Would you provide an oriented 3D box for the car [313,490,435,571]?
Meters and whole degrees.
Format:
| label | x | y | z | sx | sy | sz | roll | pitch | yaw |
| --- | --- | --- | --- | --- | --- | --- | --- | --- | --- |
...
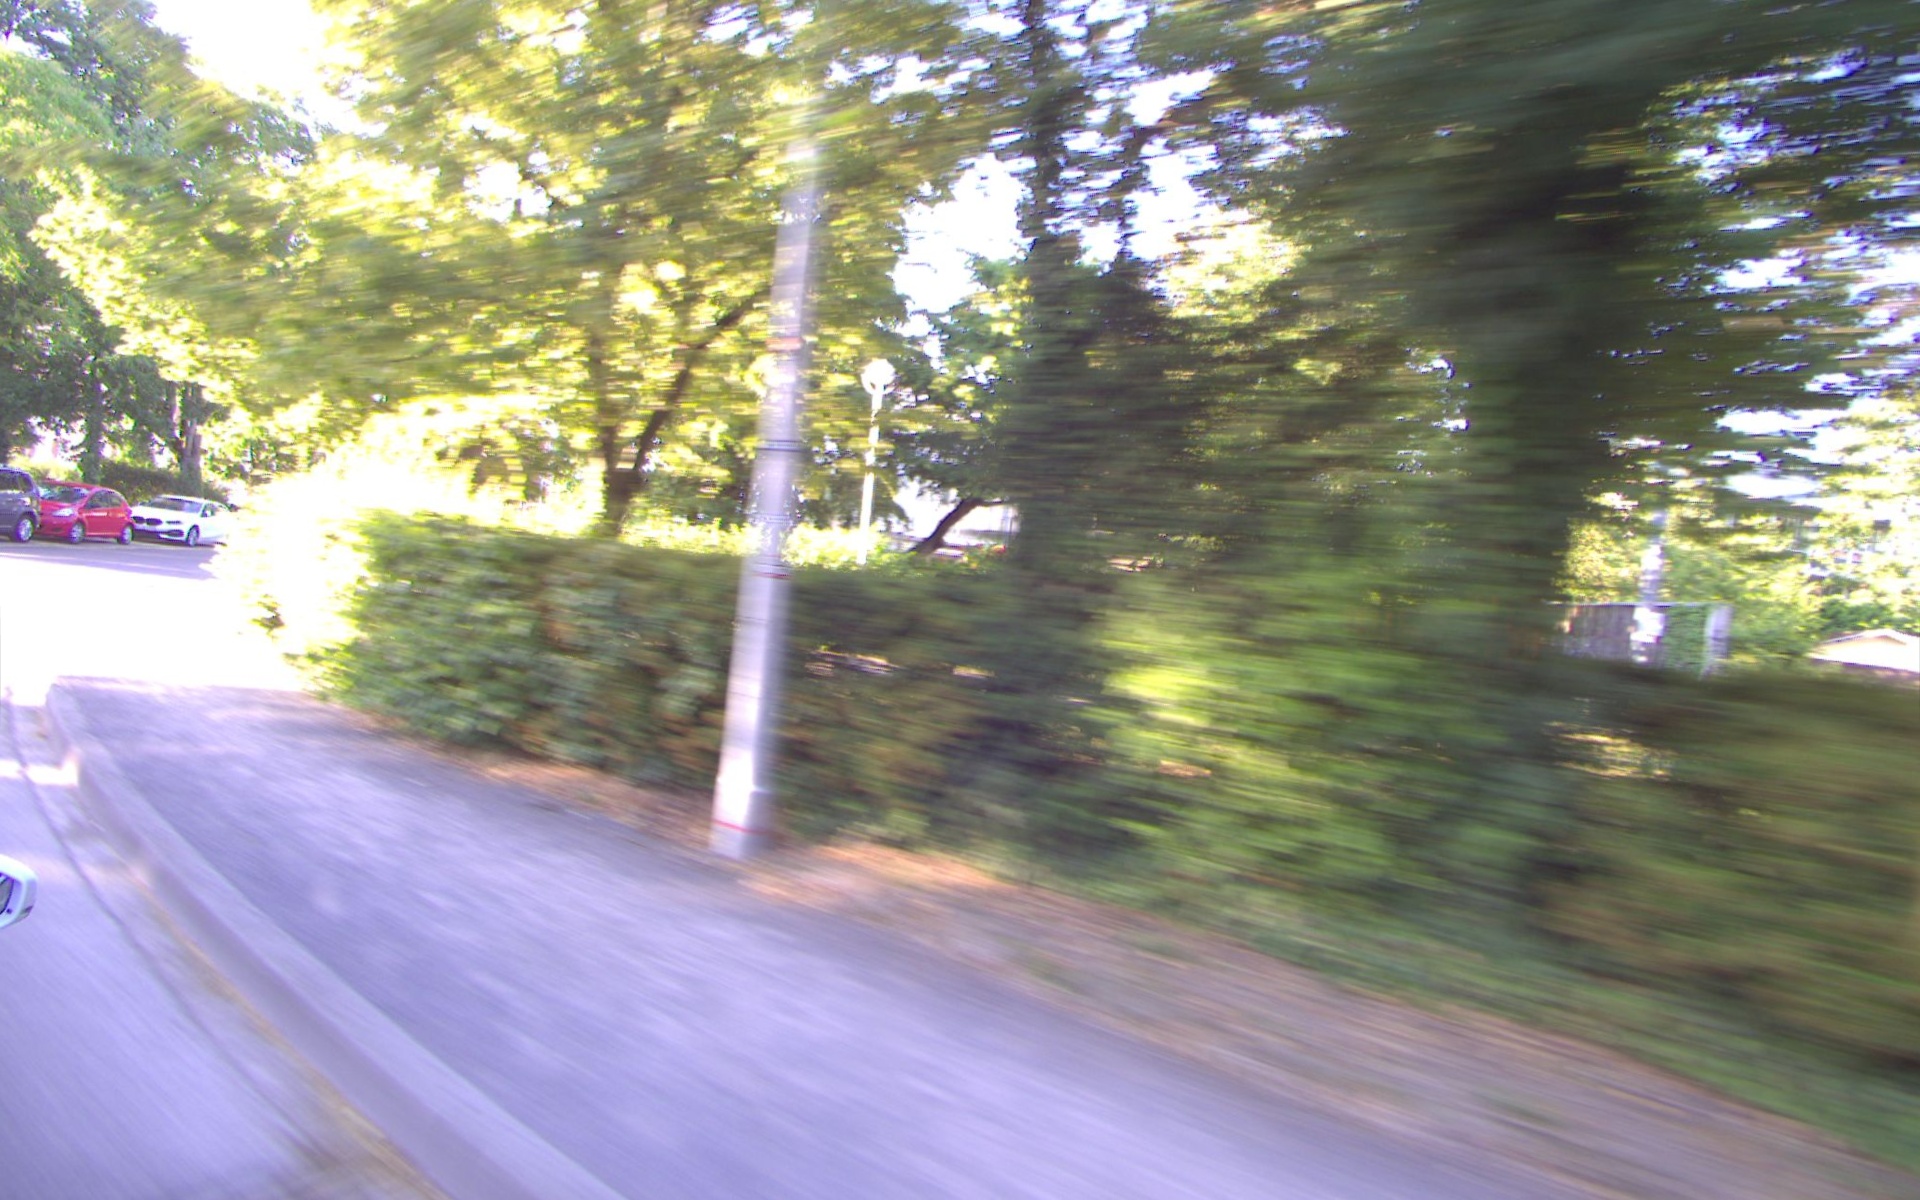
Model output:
| label | x | y | z | sx | sy | sz | roll | pitch | yaw |
| --- | --- | --- | --- | --- | --- | --- | --- | --- | --- |
| car | -17.808 | -2.057 | 30.843 | 1.929 | 2.039 | 5.132 | 6 | 1 | -17 |

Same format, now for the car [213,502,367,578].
| label | x | y | z | sx | sy | sz | roll | pitch | yaw |
| --- | --- | --- | --- | --- | --- | --- | --- | --- | --- |
| car | -16.383 | -1.446 | 24.887 | 1.744 | 1.487 | 4.845 | 6 | 1 | -17 |

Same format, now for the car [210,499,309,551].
| label | x | y | z | sx | sy | sz | roll | pitch | yaw |
| --- | --- | --- | --- | --- | --- | --- | --- | --- | --- |
| car | -25.306 | -2.682 | 36.483 | 1.619 | 1.514 | 3.692 | 8 | 0 | -15 |

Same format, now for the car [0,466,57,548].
| label | x | y | z | sx | sy | sz | roll | pitch | yaw |
| --- | --- | --- | --- | --- | --- | --- | --- | --- | --- |
| car | -21.037 | -2.071 | 20.648 | 1.780 | 1.696 | 4.306 | 8 | 0 | -15 |

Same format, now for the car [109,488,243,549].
| label | x | y | z | sx | sy | sz | roll | pitch | yaw |
| --- | --- | --- | --- | --- | --- | --- | --- | --- | --- |
| car | -23.773 | -2.415 | 30.680 | 1.670 | 1.423 | 3.961 | 8 | 0 | -15 |

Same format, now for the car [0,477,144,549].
| label | x | y | z | sx | sy | sz | roll | pitch | yaw |
| --- | --- | --- | --- | --- | --- | --- | --- | --- | --- |
| car | -22.315 | -2.123 | 25.277 | 1.371 | 1.441 | 3.415 | 8 | 0 | -15 |
